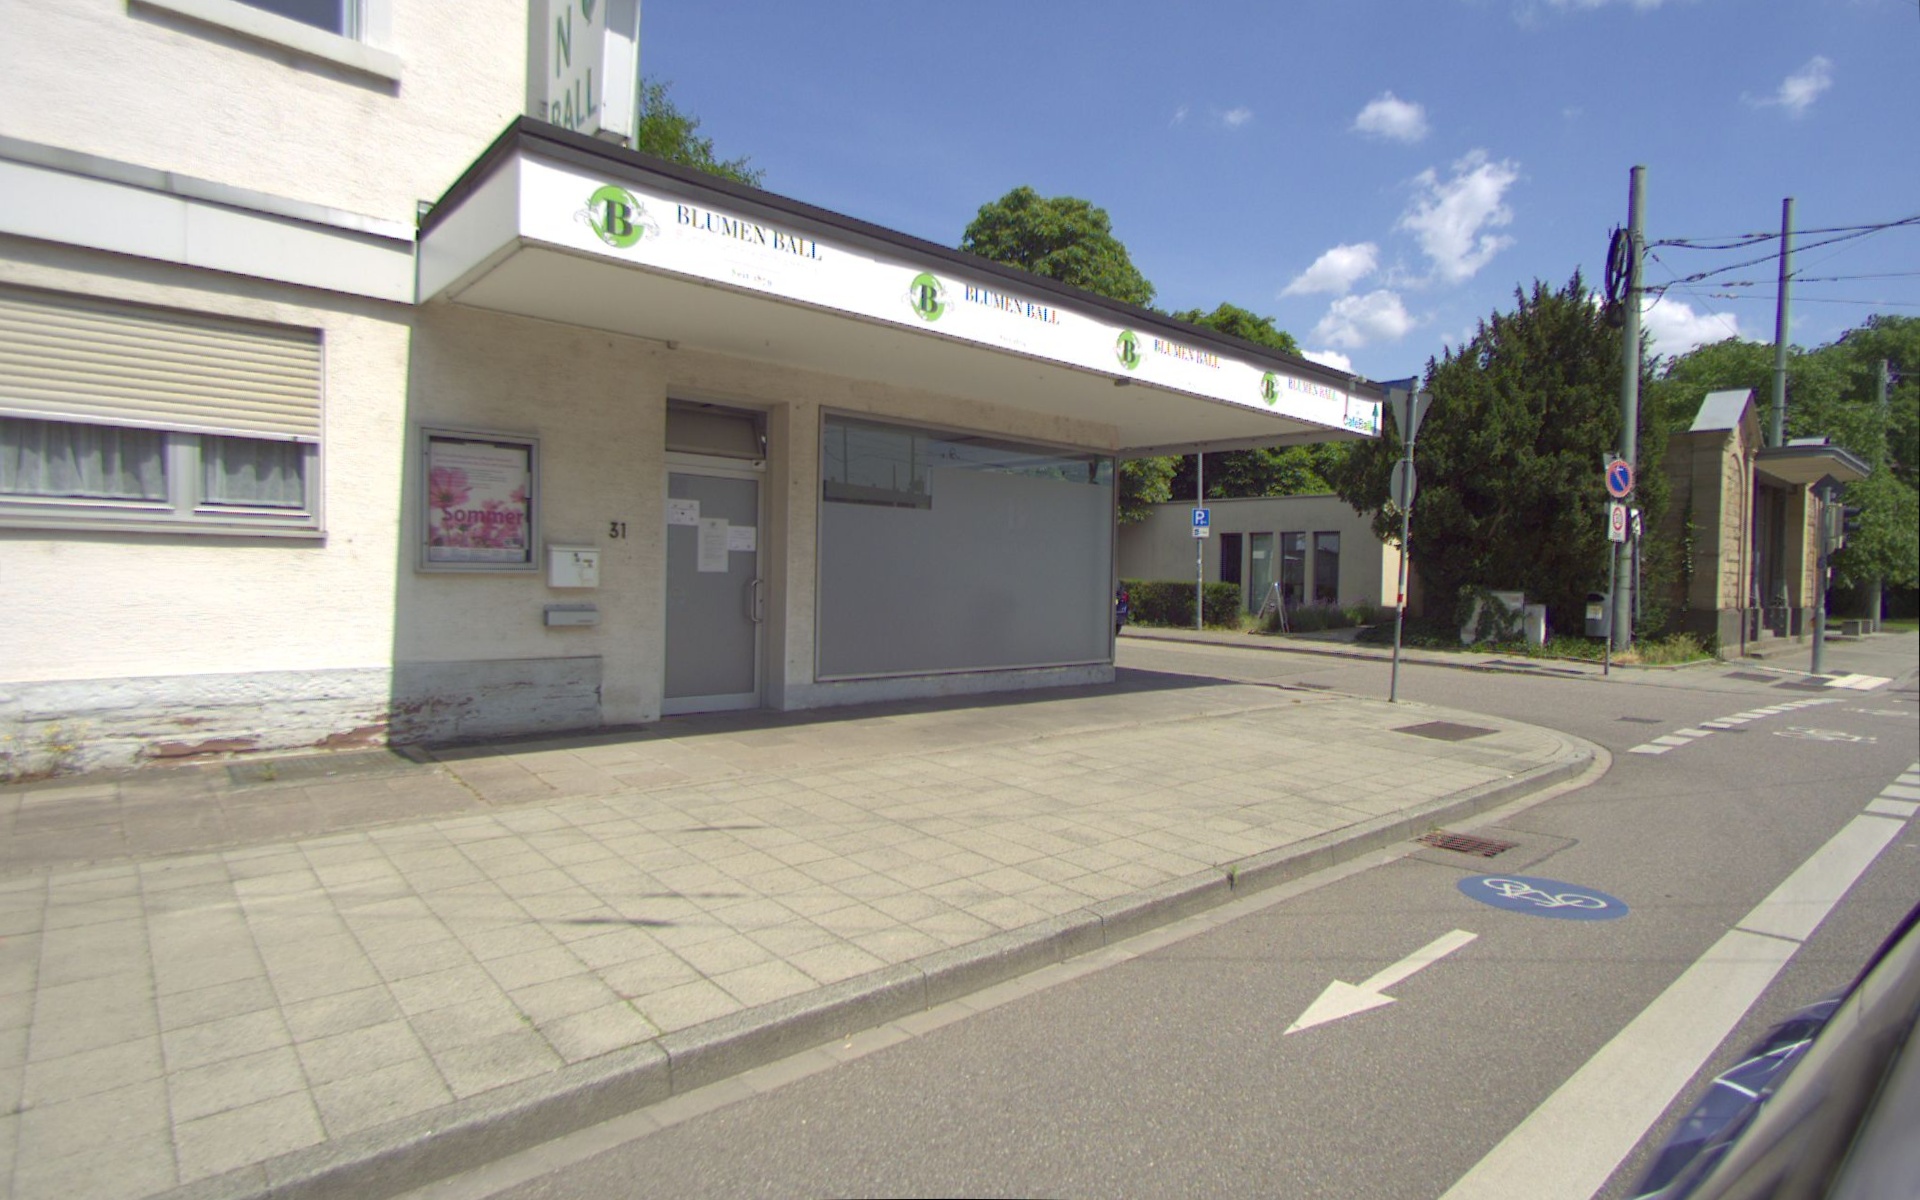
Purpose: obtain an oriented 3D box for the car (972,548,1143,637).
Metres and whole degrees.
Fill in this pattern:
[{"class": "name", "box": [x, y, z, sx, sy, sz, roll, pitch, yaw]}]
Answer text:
[{"class": "car", "box": [2.198, -0.236, 23.588, 1.646, 1.721, 3.802, 0, 5, -42]}]
